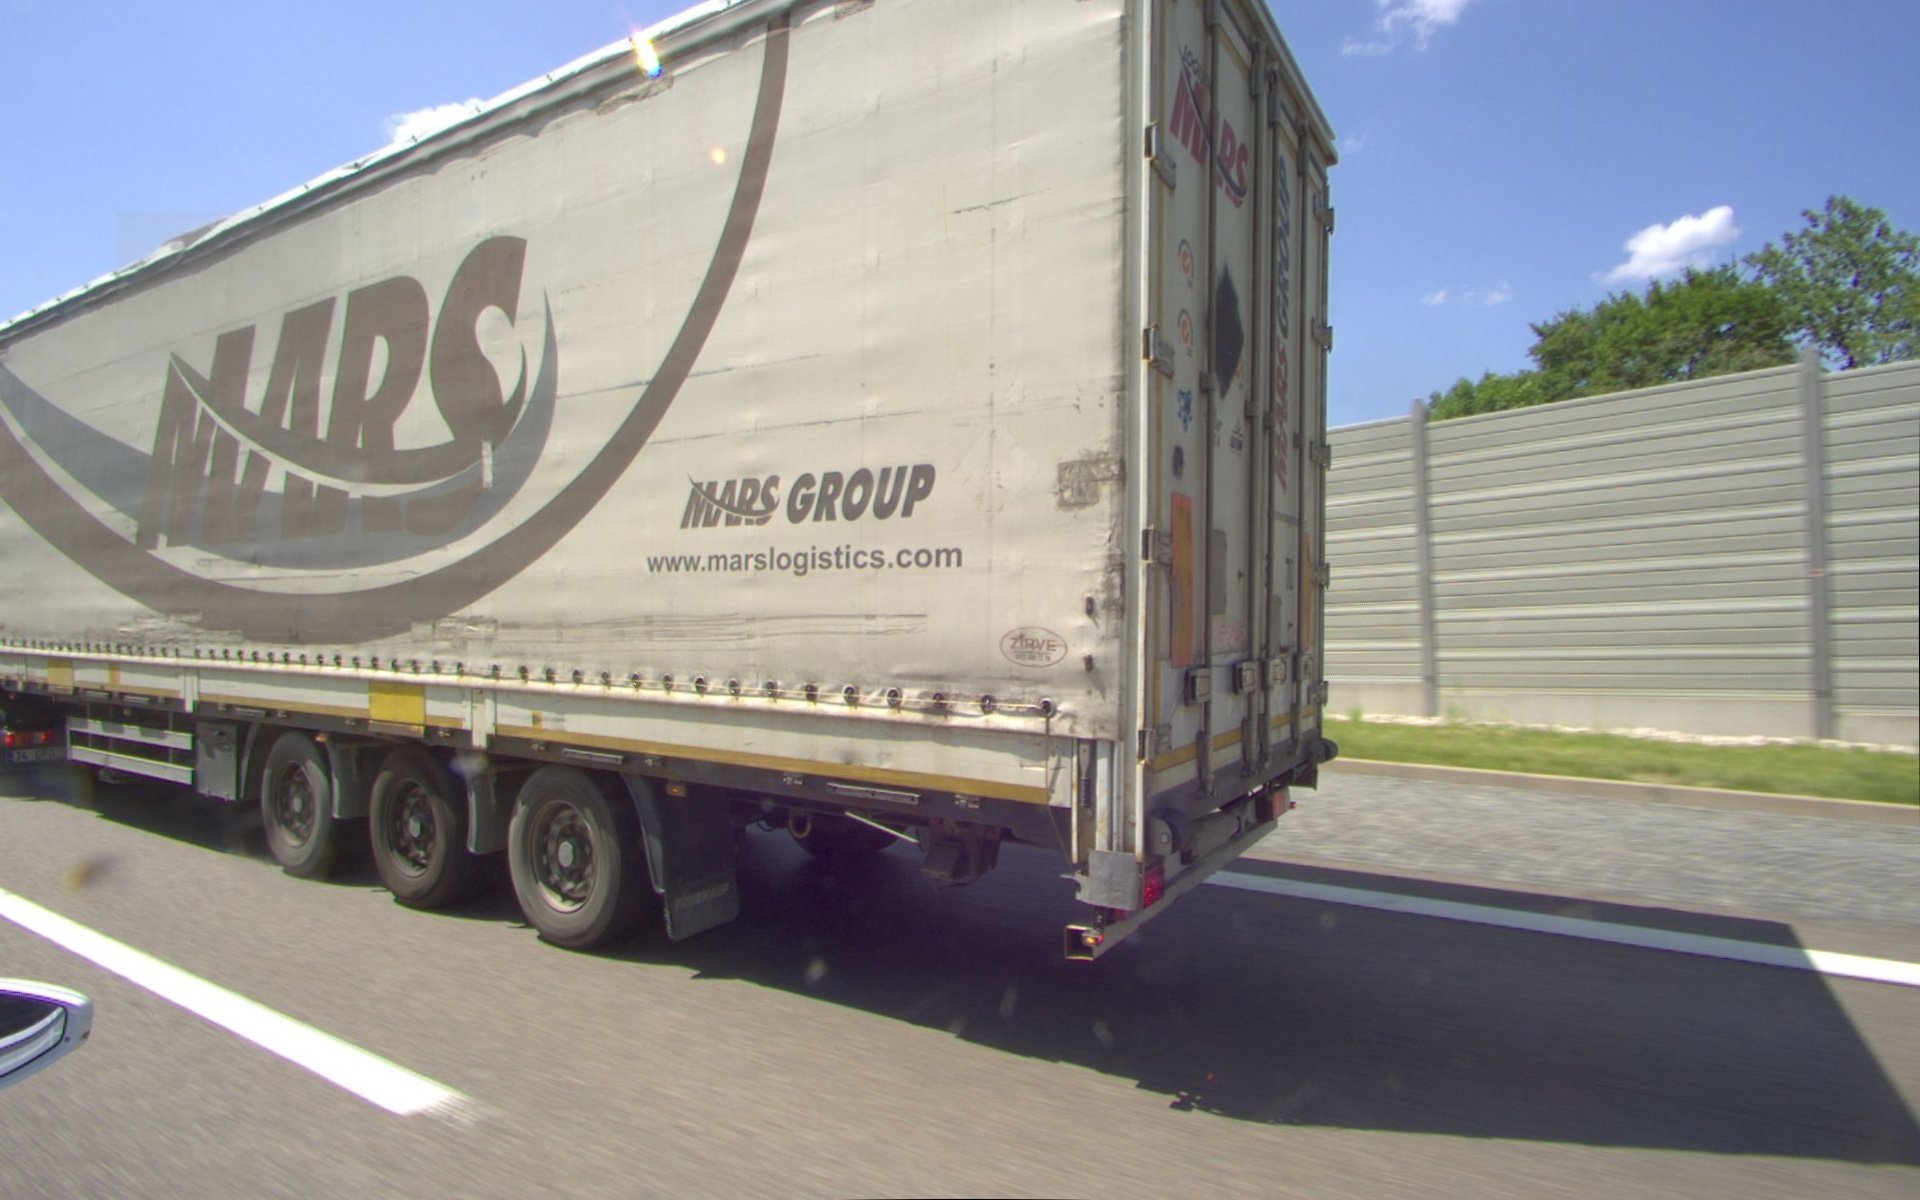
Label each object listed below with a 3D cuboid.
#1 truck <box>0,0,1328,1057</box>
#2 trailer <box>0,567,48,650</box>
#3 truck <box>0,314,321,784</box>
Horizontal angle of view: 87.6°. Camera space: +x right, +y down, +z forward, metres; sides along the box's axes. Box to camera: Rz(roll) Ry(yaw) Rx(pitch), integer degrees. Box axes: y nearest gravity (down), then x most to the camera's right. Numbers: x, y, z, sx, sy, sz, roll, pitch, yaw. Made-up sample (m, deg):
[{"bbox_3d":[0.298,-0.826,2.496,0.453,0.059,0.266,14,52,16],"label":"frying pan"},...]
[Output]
[{"bbox_3d":[-4.501,-0.496,7.768,13.546,4.119,2.722,-2,-3,32],"label":"truck"},{"bbox_3d":[-50.356,0.473,50.753,10.993,3.950,3.405,-1,-2,33],"label":"trailer"},{"bbox_3d":[-10.155,-0.326,11.366,5.673,4.119,2.715,-2,-2,32],"label":"truck"}]
